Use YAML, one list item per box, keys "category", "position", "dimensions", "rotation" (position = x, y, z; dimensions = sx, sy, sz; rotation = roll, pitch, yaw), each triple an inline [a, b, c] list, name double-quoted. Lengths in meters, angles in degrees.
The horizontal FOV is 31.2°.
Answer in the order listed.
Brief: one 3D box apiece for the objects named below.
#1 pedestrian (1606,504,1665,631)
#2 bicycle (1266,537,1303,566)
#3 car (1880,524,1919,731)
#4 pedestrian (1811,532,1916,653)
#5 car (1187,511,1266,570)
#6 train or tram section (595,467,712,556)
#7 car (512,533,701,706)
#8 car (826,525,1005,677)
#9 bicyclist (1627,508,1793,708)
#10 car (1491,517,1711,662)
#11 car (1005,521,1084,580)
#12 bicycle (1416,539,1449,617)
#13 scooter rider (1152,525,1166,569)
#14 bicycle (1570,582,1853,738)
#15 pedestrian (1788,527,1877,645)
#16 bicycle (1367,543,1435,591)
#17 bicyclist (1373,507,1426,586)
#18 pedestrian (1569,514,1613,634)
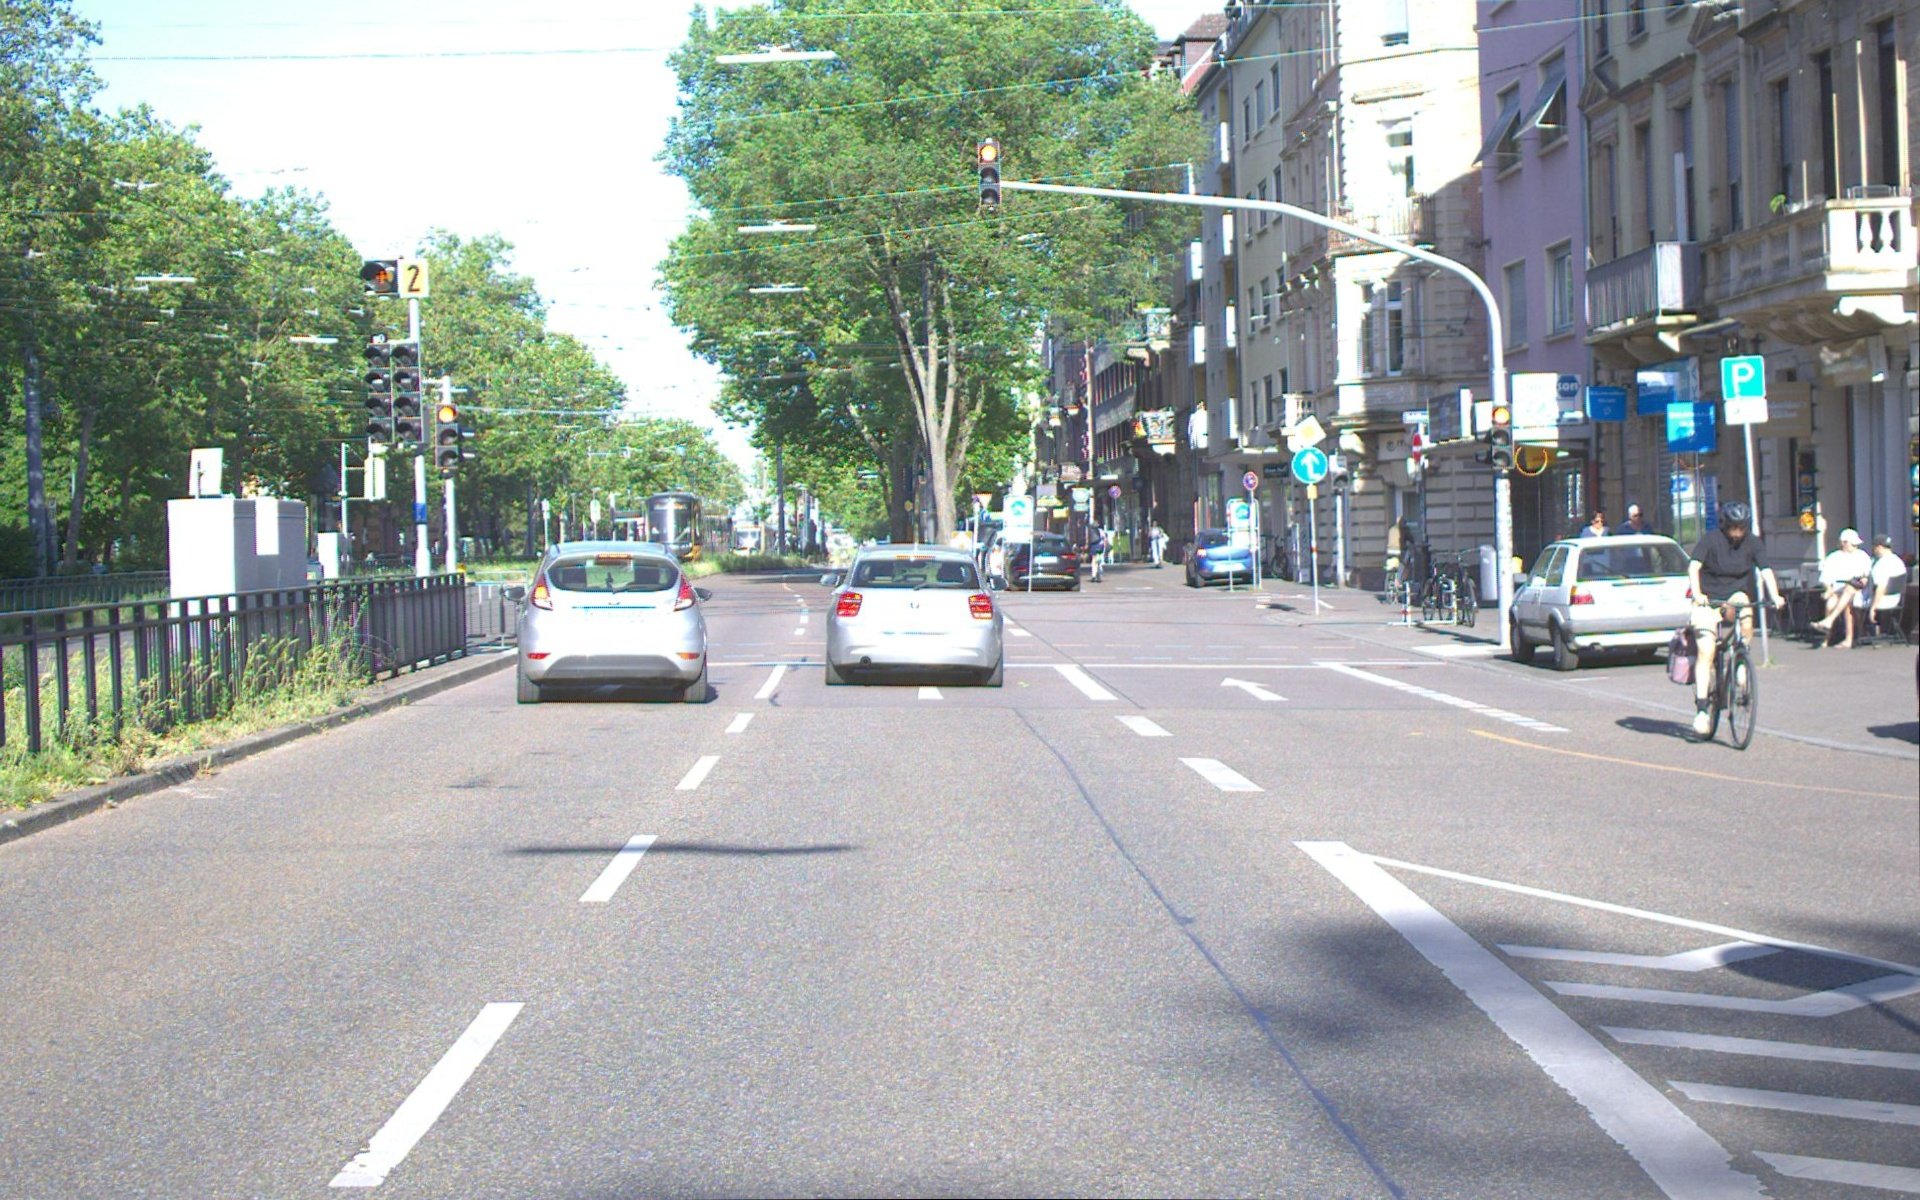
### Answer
- category: "pedestrian"
  position: [9.729, -0.475, 49.550]
  dimensions: [0.673, 1.800, 0.531]
  rotation: [-2, 1, -1]
- category: "bicycle"
  position: [8.716, -1.309, 92.417]
  dimensions: [0.754, 0.768, 1.946]
  rotation: [-1, 1, -2]
- category: "car"
  position: [7.817, 0.191, 23.230]
  dimensions: [1.833, 1.482, 4.734]
  rotation: [-4, 1, 0]
- category: "pedestrian"
  position: [9.840, -0.089, 37.448]
  dimensions: [0.900, 1.277, 0.656]
  rotation: [-2, 1, -5]
- category: "car"
  position: [7.044, -1.586, 91.097]
  dimensions: [1.735, 1.514, 3.637]
  rotation: [0, 1, -1]
- category: "train or tram section"
  position: [-14.000, -4.075, 158.498]
  dimensions: [3.969, 3.852, 17.490]
  rotation: [-1, 1, -1]
- category: "car"
  position: [-3.326, 0.130, 31.866]
  dimensions: [1.609, 1.462, 3.891]
  rotation: [-1, 1, -7]
- category: "car"
  position: [-0.469, -0.032, 35.642]
  dimensions: [1.740, 1.462, 4.000]
  rotation: [0, 1, -1]
- category: "bicyclist"
  position: [5.592, 0.045, 25.645]
  dimensions: [0.745, 1.457, 0.951]
  rotation: [-1, 1, -43]
- category: "car"
  position: [7.083, -0.164, 38.336]
  dimensions: [1.562, 1.411, 4.004]
  rotation: [-5, 1, -1]
- category: "car"
  position: [2.097, -1.255, 86.176]
  dimensions: [1.735, 1.428, 3.678]
  rotation: [0, 1, -2]
- category: "bicycle"
  position: [7.078, -0.339, 51.479]
  dimensions: [0.414, 1.137, 1.809]
  rotation: [0, 1, 6]
- category: "scooter rider"
  position: [6.852, -1.816, 118.374]
  dimensions: [0.465, 1.500, 0.811]
  rotation: [0, -1, 1]
- category: "bicycle"
  position: [5.590, 0.430, 25.642]
  dimensions: [0.757, 1.098, 1.952]
  rotation: [-3, 2, -44]
- category: "pedestrian"
  position: [9.662, -0.165, 38.097]
  dimensions: [0.797, 1.277, 0.608]
  rotation: [-1, 1, -2]
- category: "bicycle"
  position: [8.504, -0.639, 66.260]
  dimensions: [0.654, 0.900, 1.335]
  rotation: [1, 2, 41]
- category: "bicyclist"
  position: [8.472, -1.035, 66.237]
  dimensions: [0.548, 1.496, 0.959]
  rotation: [0, 2, 41]
- category: "pedestrian"
  position: [9.089, -0.374, 49.534]
  dimensions: [0.549, 1.702, 0.388]
  rotation: [-1, 1, 2]
